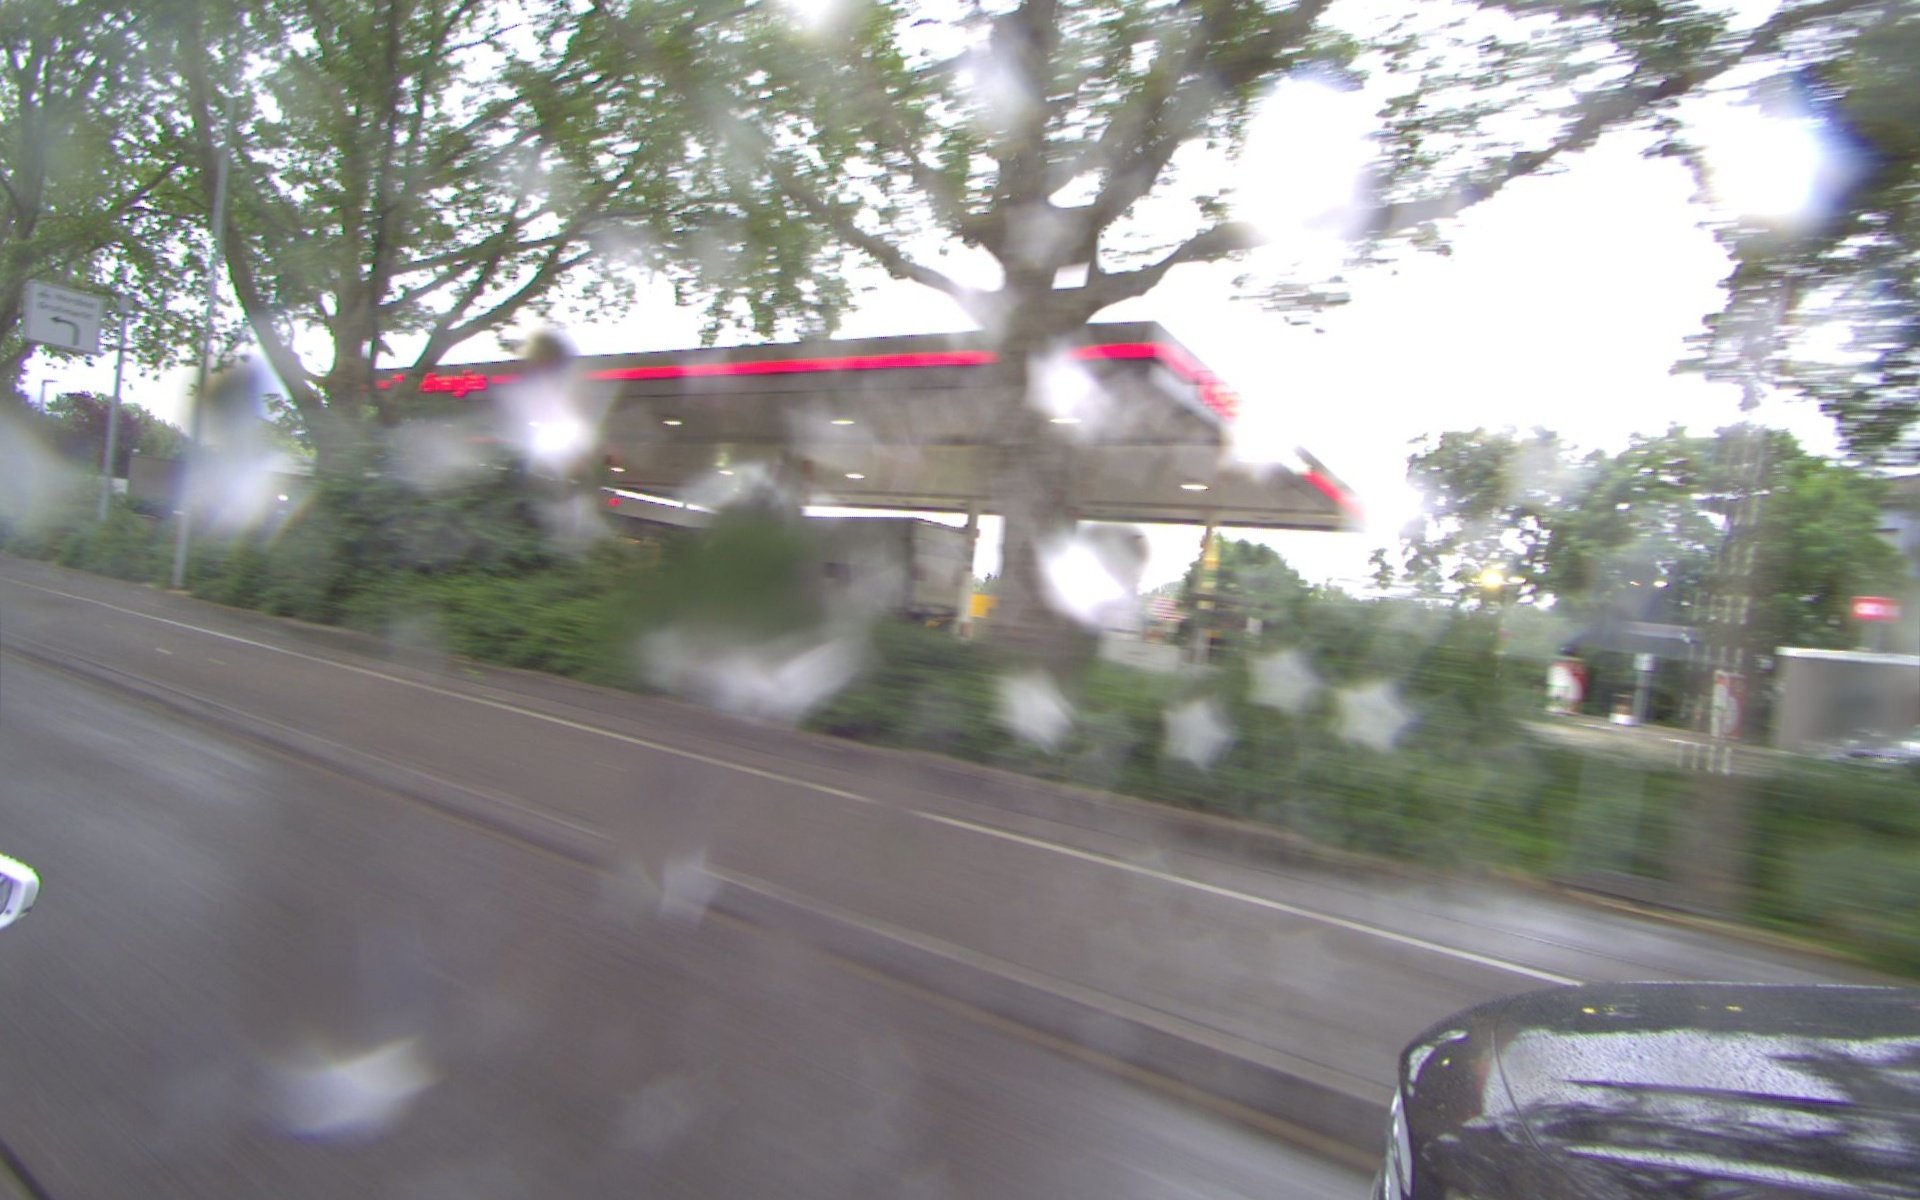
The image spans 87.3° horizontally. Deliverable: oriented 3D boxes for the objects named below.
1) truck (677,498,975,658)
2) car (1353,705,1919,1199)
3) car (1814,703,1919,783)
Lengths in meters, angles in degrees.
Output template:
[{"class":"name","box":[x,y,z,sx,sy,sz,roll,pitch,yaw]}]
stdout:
[{"class":"truck","box":[-3.749,-0.662,27.400,7.638,3.391,2.700,7,-2,30]},{"class":"car","box":[2.813,1.134,1.029,4.347,1.547,1.821,4,-2,29]},{"class":"car","box":[22.056,3.345,22.244,4.545,1.505,2.001,7,-2,0]}]
